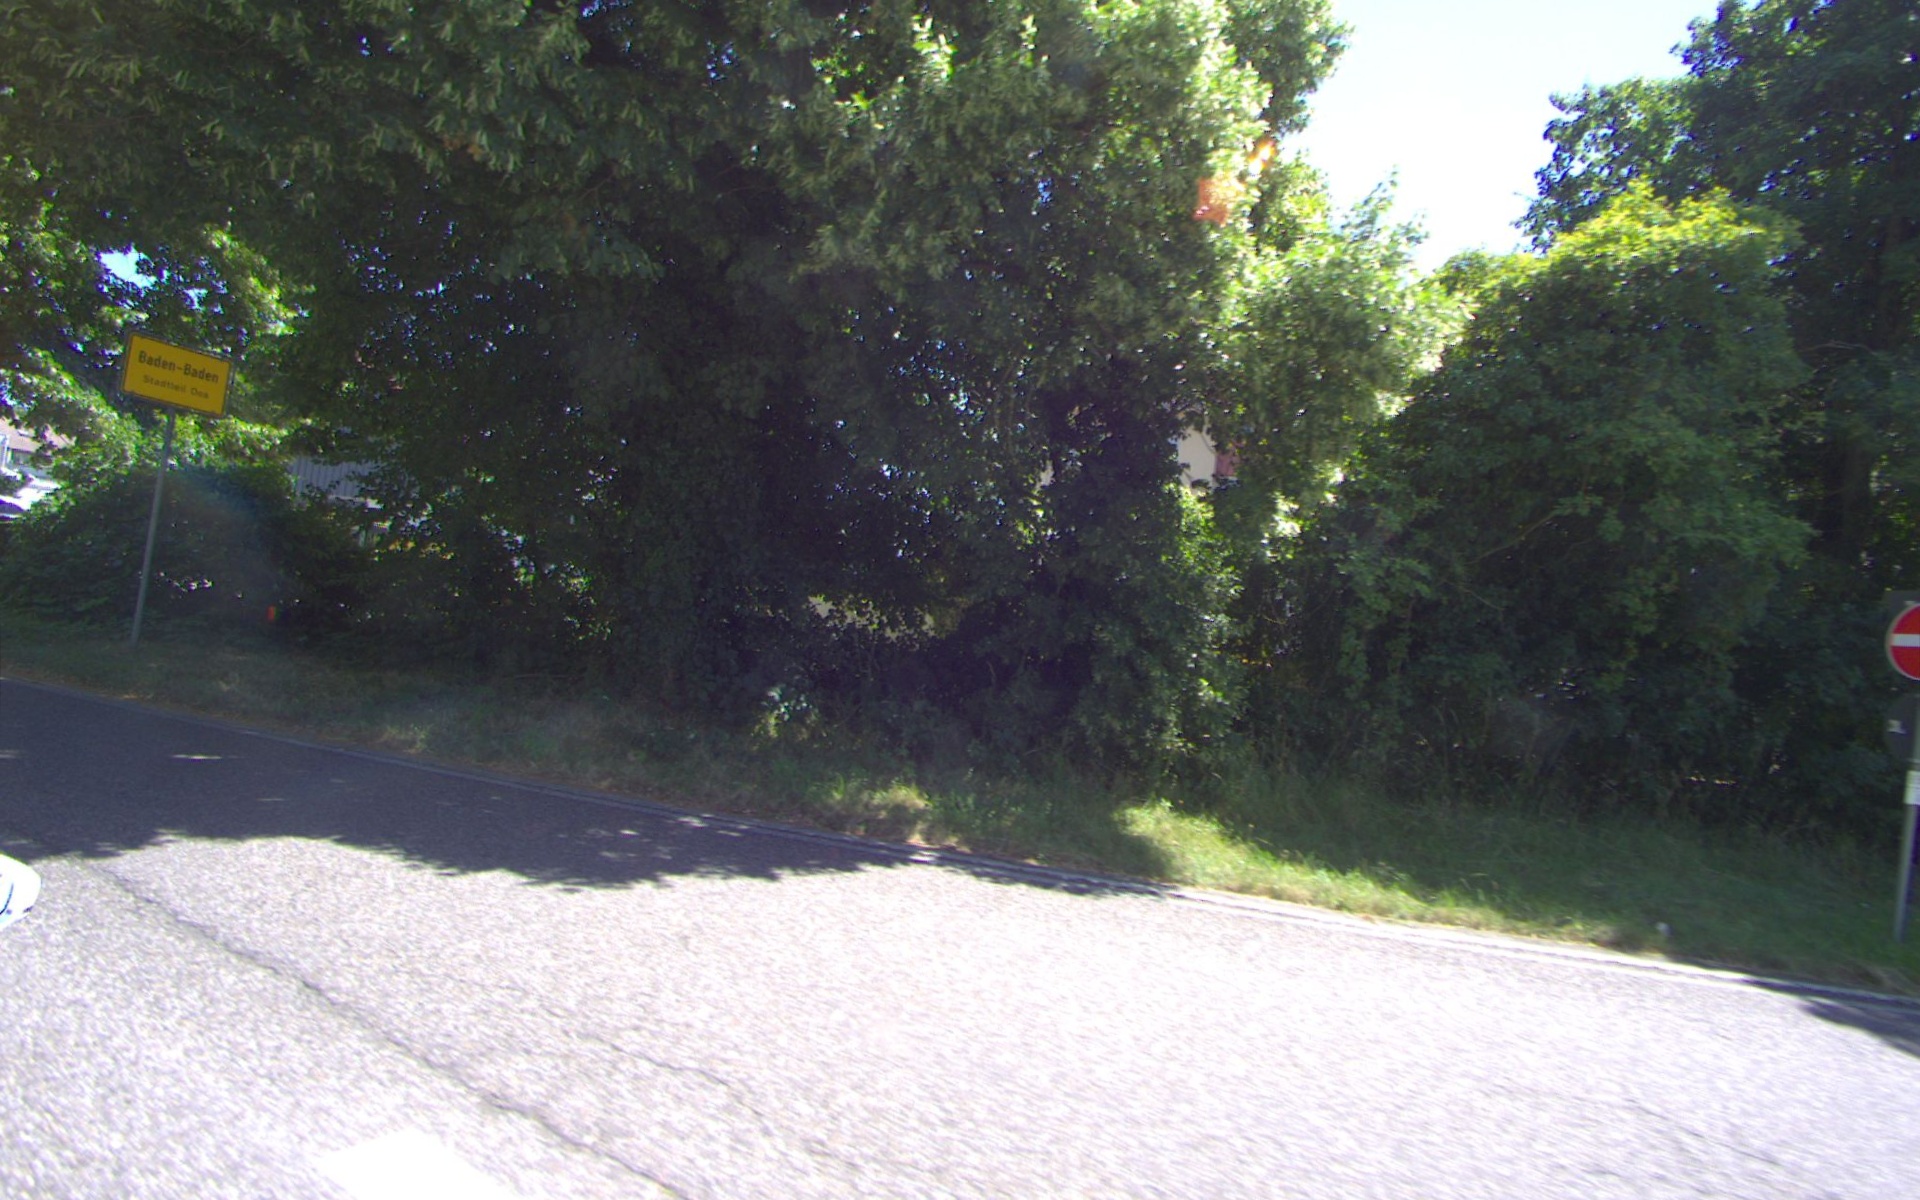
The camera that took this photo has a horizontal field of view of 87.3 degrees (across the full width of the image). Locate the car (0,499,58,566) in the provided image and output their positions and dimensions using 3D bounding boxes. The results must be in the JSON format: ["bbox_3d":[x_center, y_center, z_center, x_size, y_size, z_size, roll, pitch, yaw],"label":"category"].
[{"bbox_3d":[-26.011,-1.996,25.725,1.767,1.582,3.944,6,-3,31],"label":"car"}]
